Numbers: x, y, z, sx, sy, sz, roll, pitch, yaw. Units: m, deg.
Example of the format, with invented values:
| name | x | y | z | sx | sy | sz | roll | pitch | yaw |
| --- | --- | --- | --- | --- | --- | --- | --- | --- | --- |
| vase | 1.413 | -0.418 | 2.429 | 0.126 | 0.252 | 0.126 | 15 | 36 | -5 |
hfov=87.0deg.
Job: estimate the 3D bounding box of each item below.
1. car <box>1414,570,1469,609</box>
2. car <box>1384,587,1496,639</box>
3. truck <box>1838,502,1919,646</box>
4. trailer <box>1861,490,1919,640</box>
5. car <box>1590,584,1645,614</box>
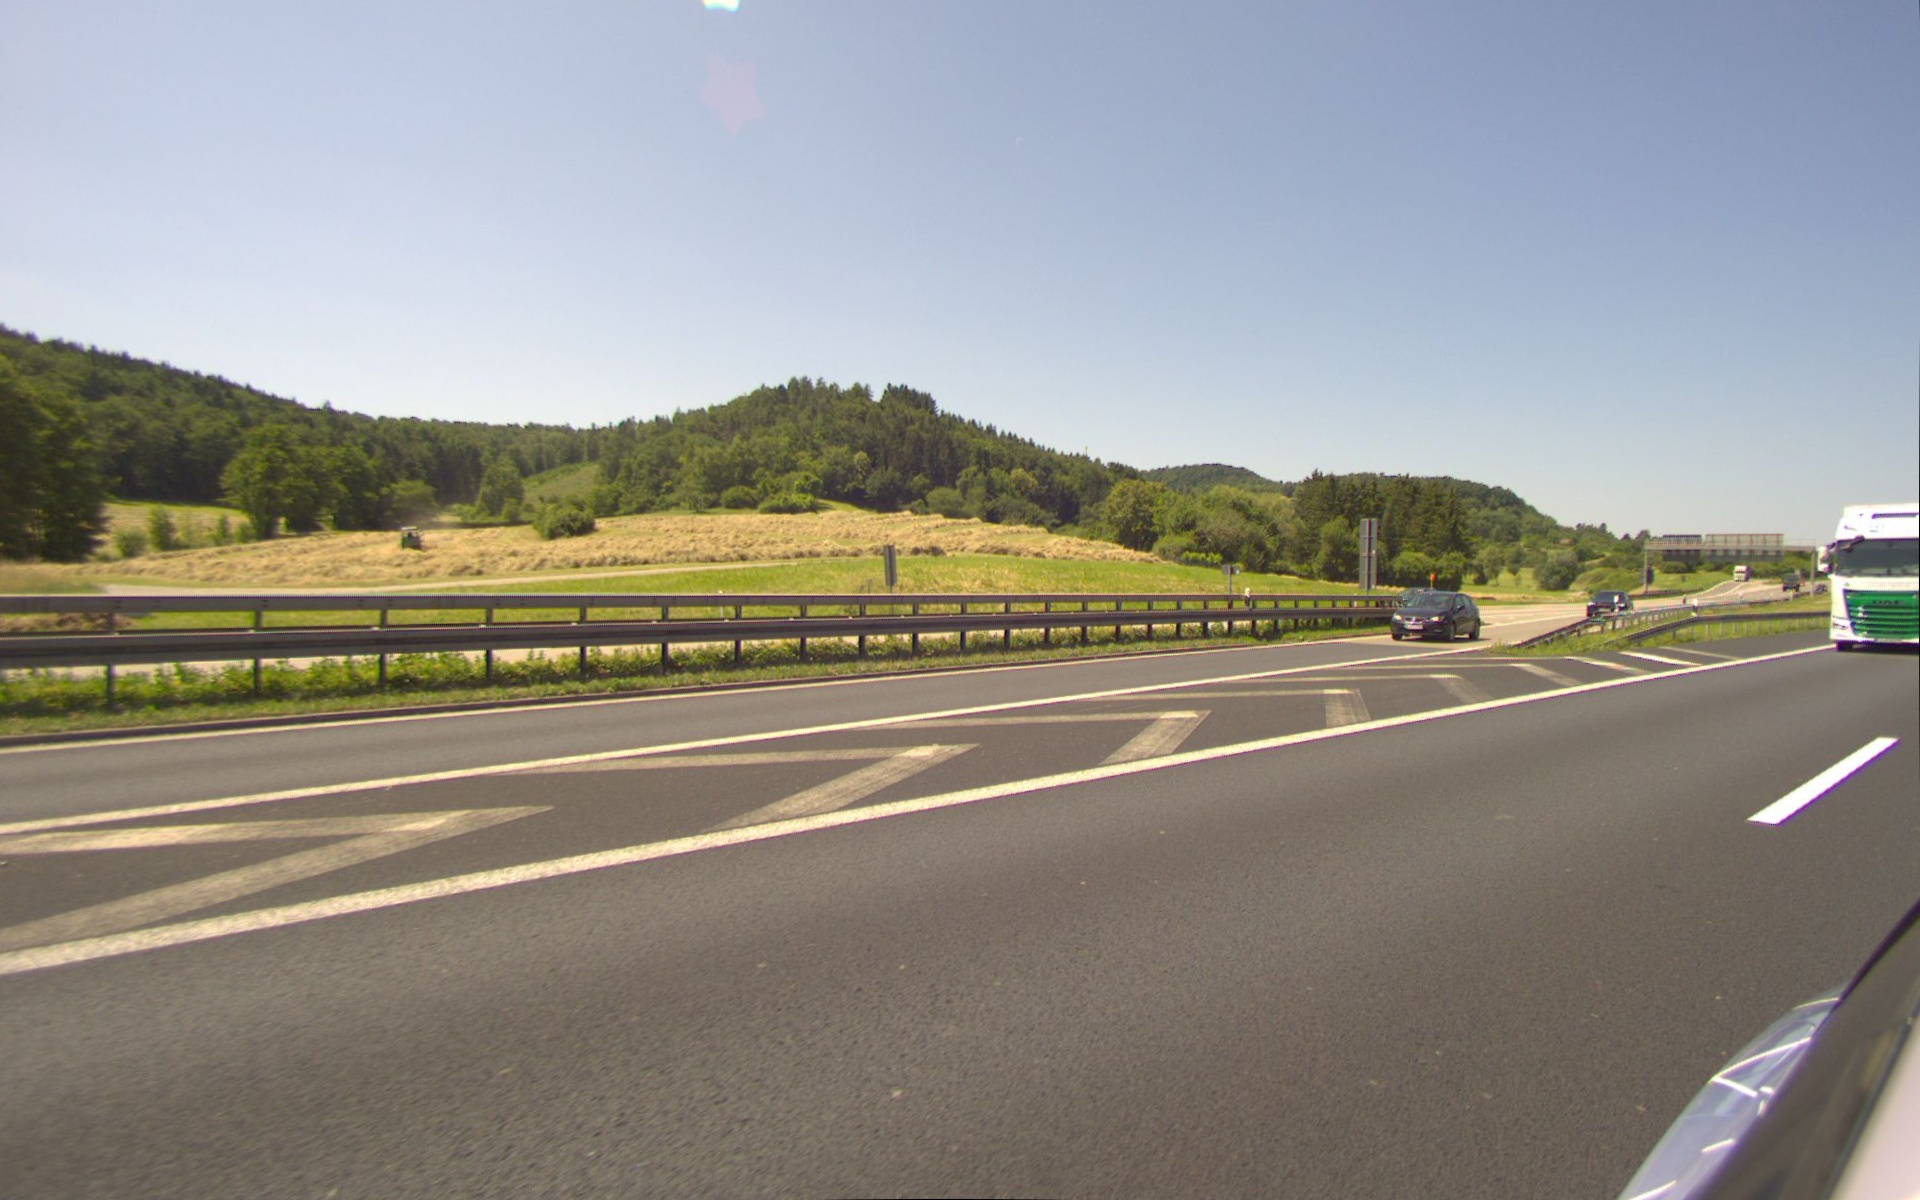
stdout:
| name | x | y | z | sx | sy | sz | roll | pitch | yaw |
| --- | --- | --- | --- | --- | --- | --- | --- | --- | --- |
| car | 27.118 | -0.616 | 56.970 | 1.990 | 2.038 | 3.946 | 2 | 2 | 38 |
| car | 14.124 | 0.328 | 29.711 | 3.699 | 1.417 | 1.778 | -1 | 1 | -44 |
| truck | 25.713 | -0.678 | 27.207 | 4.328 | 3.638 | 2.646 | -1 | 0 | -42 |
| trailer | 32.785 | -1.045 | 33.521 | 14.636 | 4.241 | 2.660 | -1 | 0 | -42 |
| car | 34.476 | -0.092 | 53.052 | 1.885 | 1.491 | 3.809 | 0 | 1 | 42 |
